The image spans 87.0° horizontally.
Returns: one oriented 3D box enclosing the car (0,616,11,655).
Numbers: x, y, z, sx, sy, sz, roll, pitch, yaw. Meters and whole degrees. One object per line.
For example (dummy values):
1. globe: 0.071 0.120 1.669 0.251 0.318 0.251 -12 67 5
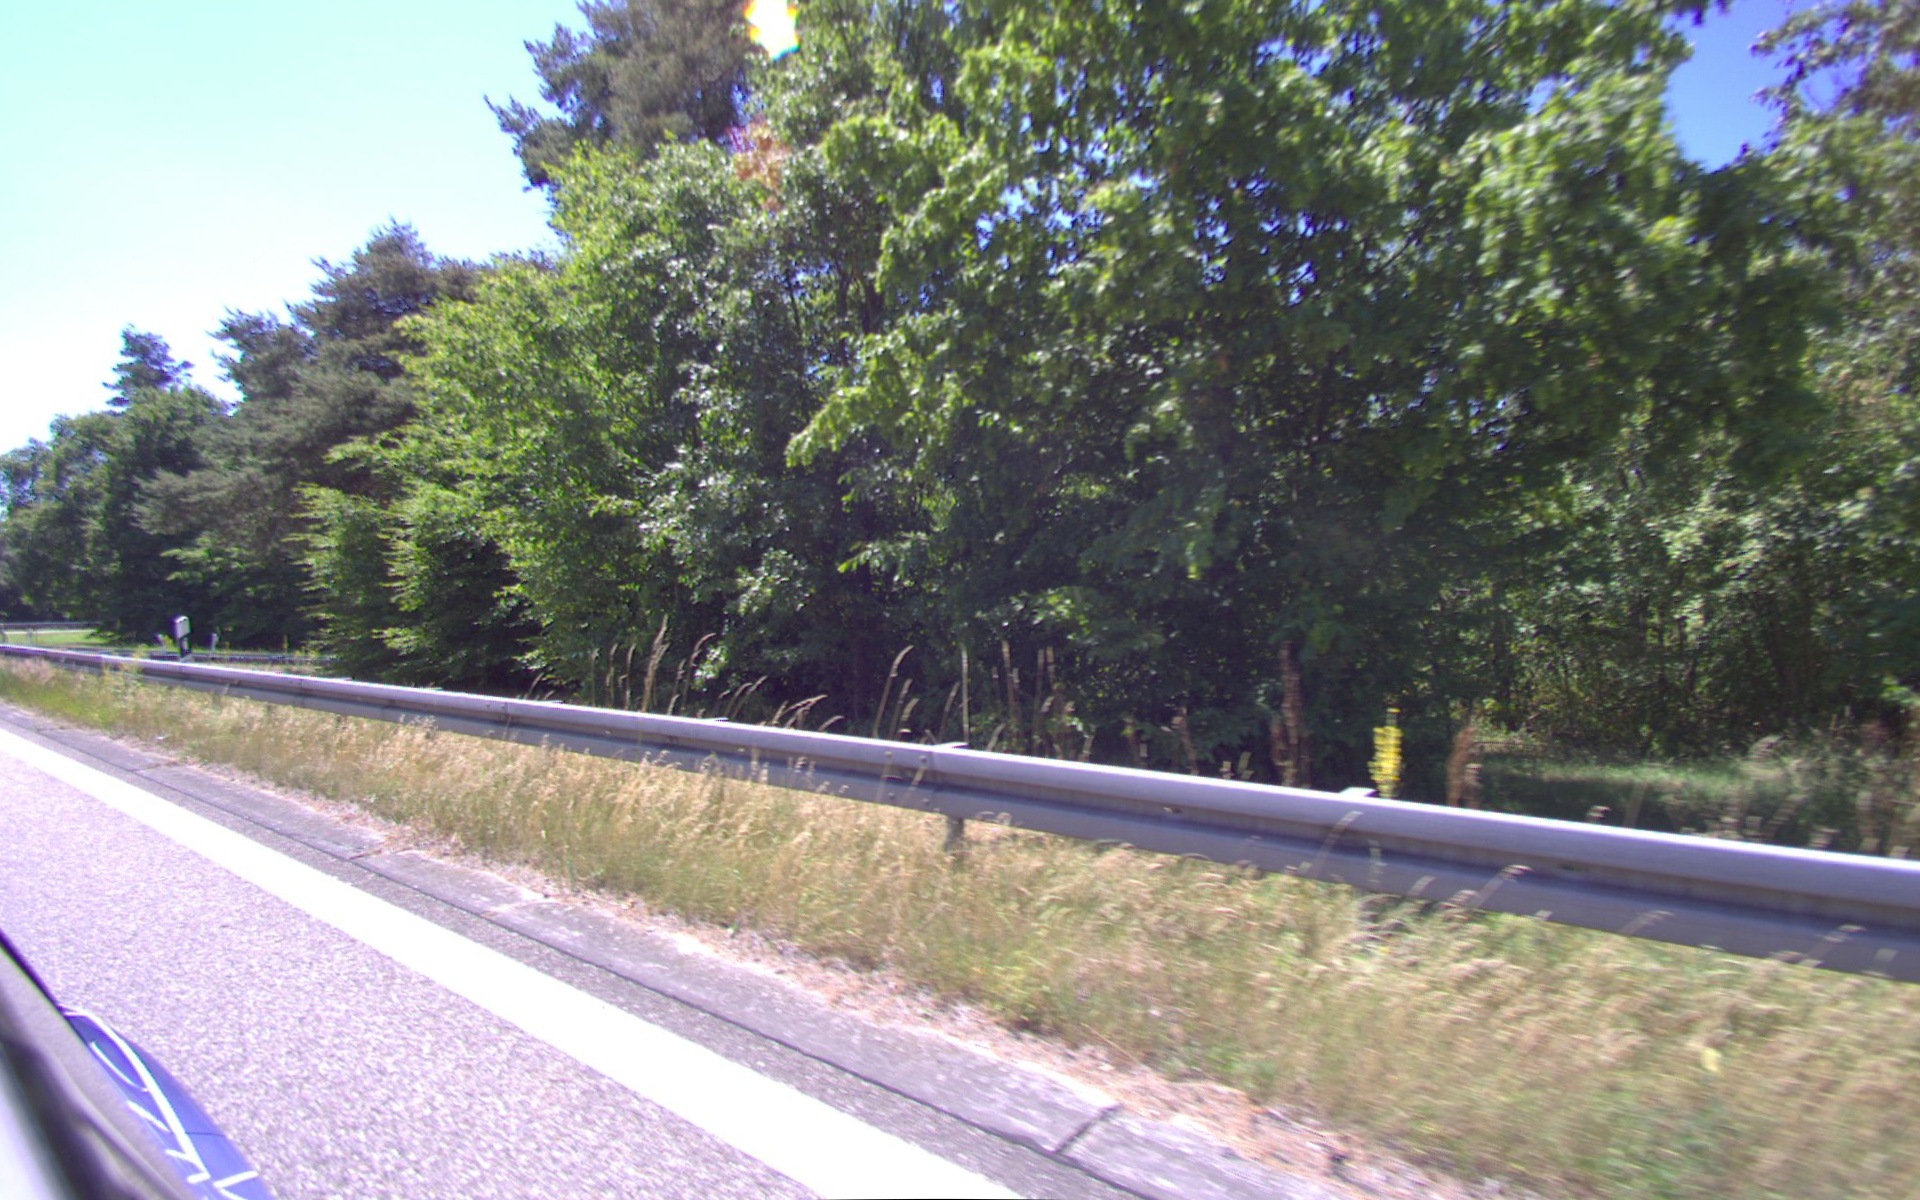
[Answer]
1. car: -42.716 1.460 43.218 5.257 1.653 1.977 0 -4 34
